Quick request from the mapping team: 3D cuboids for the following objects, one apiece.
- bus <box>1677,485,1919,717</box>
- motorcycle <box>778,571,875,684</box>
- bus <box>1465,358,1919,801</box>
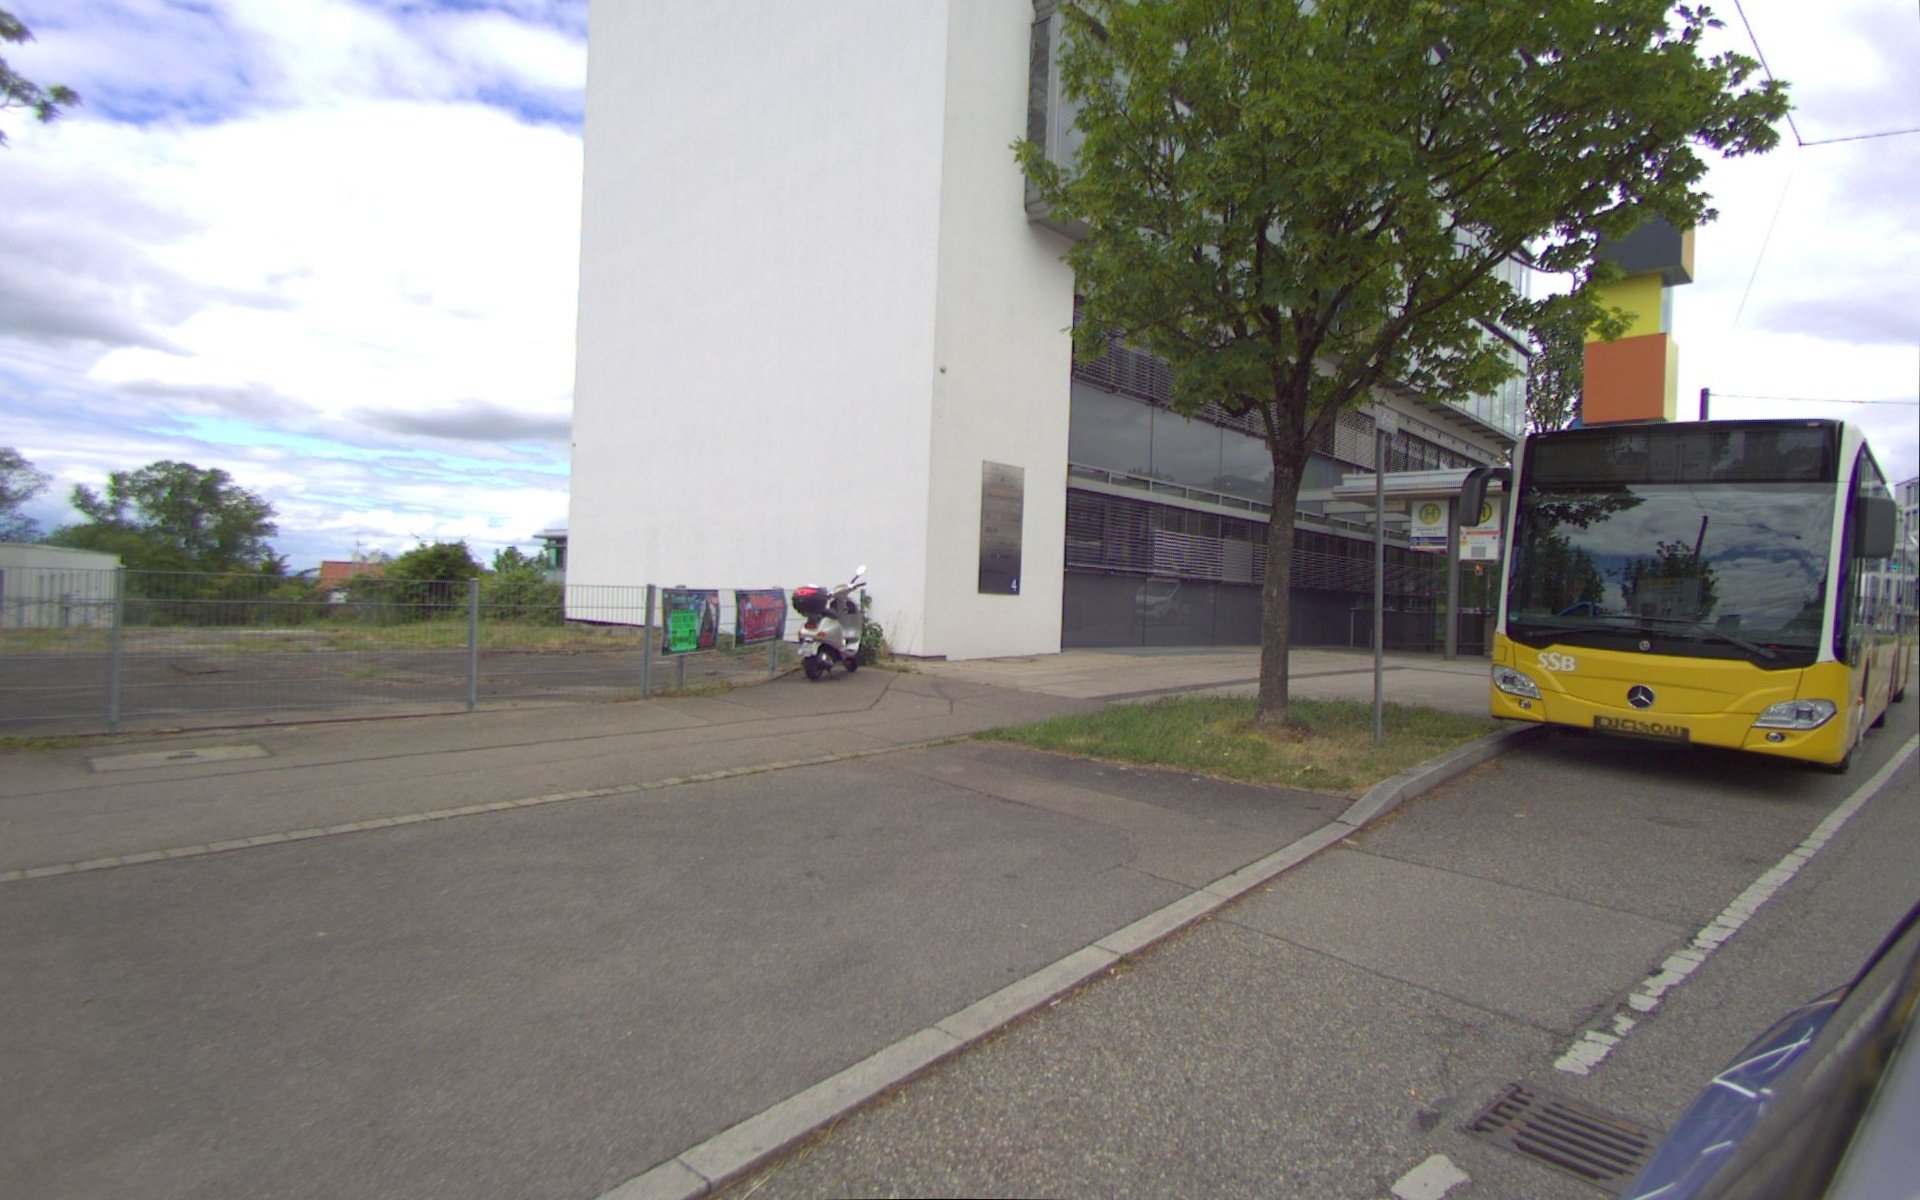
[{"bbox_3d":[15.135,0.014,17.751,2.714,3.147,8.725,3,1,45],"label":"bus"},{"bbox_3d":[-1.554,0.284,12.026,0.575,1.237,1.575,1,1,15],"label":"motorcycle"},{"bbox_3d":[8.849,-0.162,11.431,8.976,3.202,2.715,1,2,-44],"label":"bus"}]
